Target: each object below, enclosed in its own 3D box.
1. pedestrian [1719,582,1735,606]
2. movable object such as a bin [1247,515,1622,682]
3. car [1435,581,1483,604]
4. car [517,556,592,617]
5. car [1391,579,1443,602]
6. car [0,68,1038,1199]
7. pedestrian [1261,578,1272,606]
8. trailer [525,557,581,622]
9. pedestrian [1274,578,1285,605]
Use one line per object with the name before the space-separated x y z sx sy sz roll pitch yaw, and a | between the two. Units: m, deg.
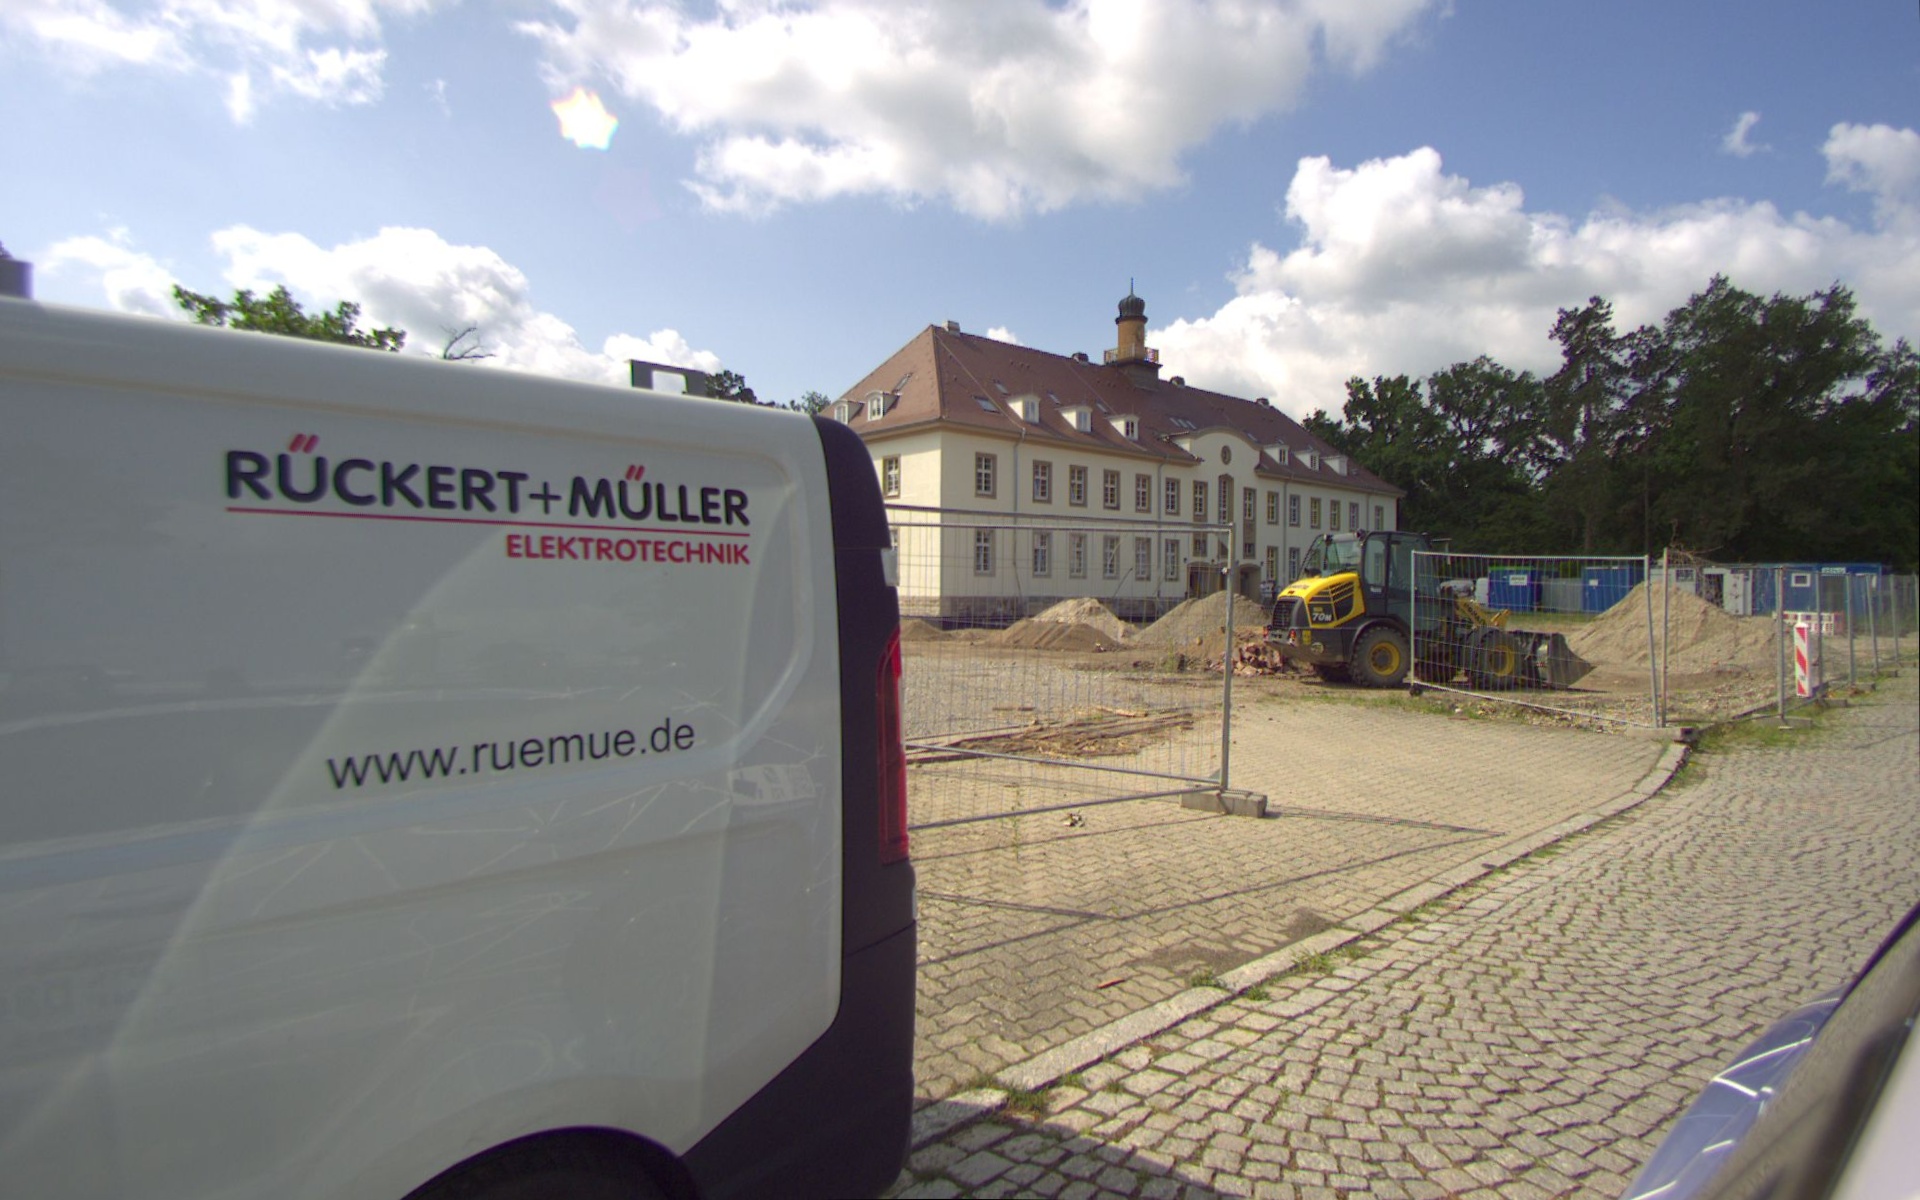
pedestrian | 41.477 -0.317 54.734 0.671 1.258 0.602 0 0 -43
movable object such as a bin | 7.948 0.005 17.124 5.537 2.553 2.154 1 1 -13
car | 37.411 -0.573 75.809 3.969 1.704 1.801 -1 1 -41
car | -18.619 -0.638 46.326 2.203 2.623 5.441 0 1 -33
car | 35.293 -0.758 78.164 4.625 1.749 1.883 -1 1 -41
car | -2.567 0.463 1.026 5.579 2.079 1.917 -1 1 -41
pedestrian | 20.134 -0.536 66.449 0.496 1.810 0.492 0 0 -19
trailer | -16.581 -0.455 41.430 1.920 2.503 4.855 0 1 -19
pedestrian | 21.265 -0.547 67.331 0.498 1.810 0.490 0 0 -44
